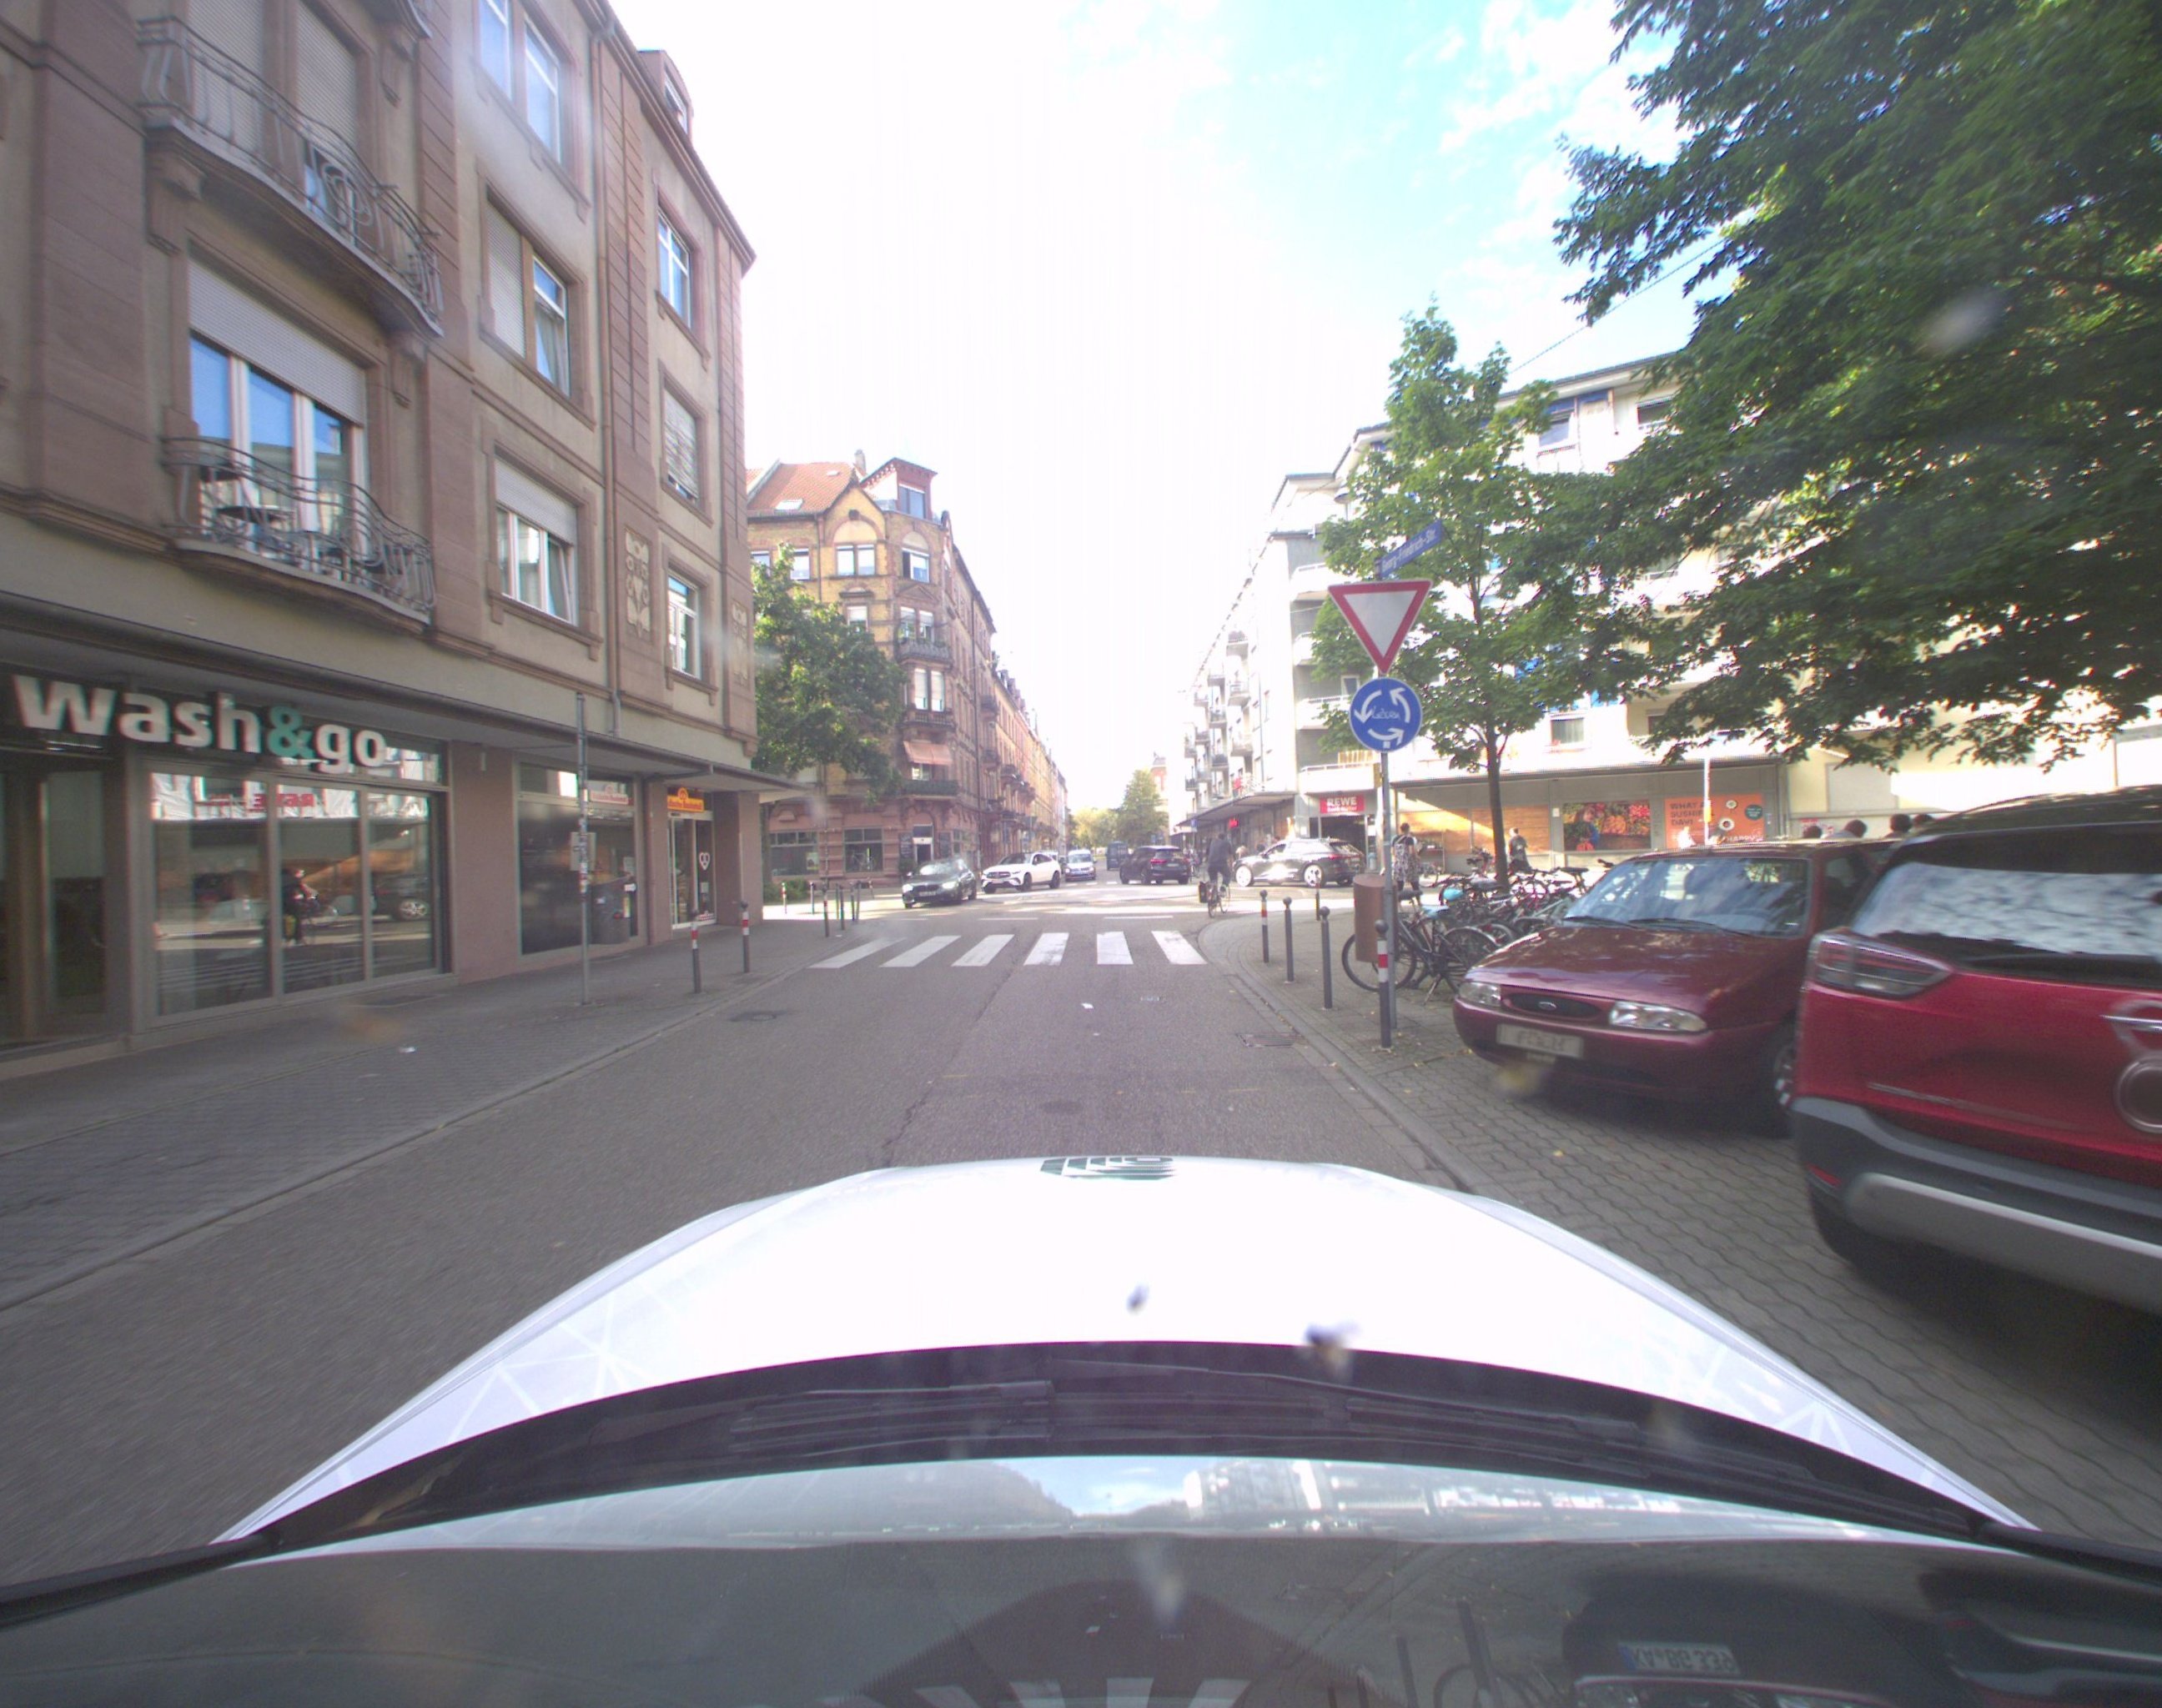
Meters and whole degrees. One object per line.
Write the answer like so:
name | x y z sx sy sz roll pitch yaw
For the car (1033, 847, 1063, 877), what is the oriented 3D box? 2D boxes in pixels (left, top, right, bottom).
car | -2.395 0.588 60.034 1.987 2.013 3.999 -3 0 -1

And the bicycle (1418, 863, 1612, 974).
bicycle | 4.620 0.662 8.841 0.391 1.040 1.903 -5 0 -27

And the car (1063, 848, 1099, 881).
car | 0.055 0.606 48.693 1.785 1.790 4.740 -3 0 4

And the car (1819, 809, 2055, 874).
car | 22.829 -0.304 21.971 1.991 1.510 3.992 -2 0 -6

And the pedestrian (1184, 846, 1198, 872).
pedestrian | 7.944 0.366 58.735 0.724 1.864 1.067 -2 0 16

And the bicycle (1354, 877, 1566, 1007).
bicycle | 3.497 0.772 7.711 0.462 1.040 1.840 -5 0 -27

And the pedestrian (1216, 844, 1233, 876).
pedestrian | 7.450 0.312 42.228 0.740 1.629 0.815 -2 0 13

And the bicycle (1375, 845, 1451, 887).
bicycle | 10.005 0.366 24.588 1.950 1.199 0.717 -2 0 40

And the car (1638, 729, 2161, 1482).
car | 4.239 0.400 2.799 4.362 1.645 1.806 -5 1 -25

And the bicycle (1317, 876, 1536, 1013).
bicycle | 3.071 0.761 7.455 0.551 1.040 1.840 -5 0 -28

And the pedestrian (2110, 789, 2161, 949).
pedestrian | 9.831 0.120 7.117 0.671 1.406 0.757 -2 0 -3

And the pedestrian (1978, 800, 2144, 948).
pedestrian | 9.599 0.183 8.006 0.671 1.358 0.757 -2 0 -3

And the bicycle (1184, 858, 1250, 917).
bicycle | 3.017 0.683 17.832 0.659 1.178 2.512 -1 0 27

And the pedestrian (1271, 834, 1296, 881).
pedestrian | 8.196 0.139 32.999 0.864 1.851 0.613 -2 0 6

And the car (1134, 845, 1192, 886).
car | 3.507 0.473 35.430 1.988 1.618 3.997 -2 0 -2

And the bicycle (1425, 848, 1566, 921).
bicycle | 6.756 0.493 13.340 1.915 1.094 0.654 -2 0 6

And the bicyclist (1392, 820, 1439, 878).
bicyclist | 10.067 -0.147 24.525 1.003 1.668 0.949 -2 0 40

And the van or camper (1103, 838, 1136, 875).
van or camper | 3.396 0.212 72.647 2.524 3.037 4.457 -2 0 -1

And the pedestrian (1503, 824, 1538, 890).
pedestrian | 11.992 0.075 22.236 0.624 1.739 0.778 -2 0 14

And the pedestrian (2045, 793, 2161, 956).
pedestrian | 9.133 0.161 7.103 0.668 1.351 0.628 -2 0 -3

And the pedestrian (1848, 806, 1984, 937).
pedestrian | 9.482 0.186 9.276 0.795 1.406 0.702 -2 0 -3

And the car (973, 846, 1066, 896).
car | -2.469 0.662 34.246 1.926 1.722 4.875 -3 1 21

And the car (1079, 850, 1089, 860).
car | 0.587 0.183 167.953 1.986 2.013 4.001 -2 0 1

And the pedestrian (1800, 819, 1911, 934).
pedestrian | 9.451 0.266 9.958 0.755 1.342 0.596 -2 0 -3

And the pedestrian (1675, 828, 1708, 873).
pedestrian | 20.605 -0.121 27.492 0.743 1.479 0.590 -3 0 27

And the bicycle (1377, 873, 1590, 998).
bicycle | 3.818 0.737 7.946 0.348 1.040 2.001 -5 0 -25

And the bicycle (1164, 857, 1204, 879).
bicycle | 5.392 0.745 42.610 1.991 1.045 0.532 -2 0 4

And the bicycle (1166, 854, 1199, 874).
bicycle | 5.608 0.564 44.900 1.798 1.027 0.673 -2 0 -36

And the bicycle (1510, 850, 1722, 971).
bicycle | 5.342 0.547 8.267 0.355 1.074 1.782 -5 0 -27

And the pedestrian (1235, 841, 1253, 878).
pedestrian | 7.744 0.265 38.727 0.735 1.712 0.736 -2 0 13

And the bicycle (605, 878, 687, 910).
bicycle | -17.873 1.635 33.495 2.889 1.123 0.726 -3 0 -2

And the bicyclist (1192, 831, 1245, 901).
bicyclist | 3.012 0.258 17.806 0.924 1.484 0.752 -1 0 27

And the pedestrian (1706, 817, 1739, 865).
pedestrian | 21.438 -0.433 27.230 0.740 1.550 0.736 0 1 28

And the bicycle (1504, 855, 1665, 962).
bicycle | 5.398 0.566 8.818 0.337 1.040 1.443 -5 0 -27

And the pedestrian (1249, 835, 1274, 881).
pedestrian | 7.324 0.162 33.098 0.864 1.851 0.613 -2 0 6

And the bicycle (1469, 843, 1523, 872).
bicycle | 15.376 0.134 30.191 1.663 1.050 0.461 -2 0 41

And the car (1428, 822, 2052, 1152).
car | 4.436 0.589 5.429 3.953 1.457 1.754 -2 0 -27

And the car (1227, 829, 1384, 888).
car | 7.487 0.155 27.559 2.052 1.724 4.791 -5 2 -37

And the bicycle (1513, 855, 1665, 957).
bicycle | 5.658 0.550 9.140 0.452 1.040 1.373 -2 0 -28

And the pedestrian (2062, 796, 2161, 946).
pedestrian | 10.282 0.151 7.963 0.572 1.406 0.636 -2 0 -6

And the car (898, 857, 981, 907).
car | -4.402 0.850 25.883 1.743 1.436 4.213 -1 -1 2

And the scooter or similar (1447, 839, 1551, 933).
scooter or similar | 5.941 0.455 11.623 1.233 1.274 0.668 -2 0 26

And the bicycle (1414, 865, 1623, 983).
bicycle | 4.390 0.672 8.338 0.446 1.040 1.888 -5 0 -27

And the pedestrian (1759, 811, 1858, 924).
pedestrian | 9.403 0.172 10.544 0.755 1.392 0.548 -2 0 -3

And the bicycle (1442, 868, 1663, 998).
bicycle | 4.318 0.686 7.634 0.348 1.040 1.841 -5 0 -25

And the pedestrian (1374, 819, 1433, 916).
pedestrian | 6.172 0.252 15.571 0.774 1.779 0.798 -3 0 40
